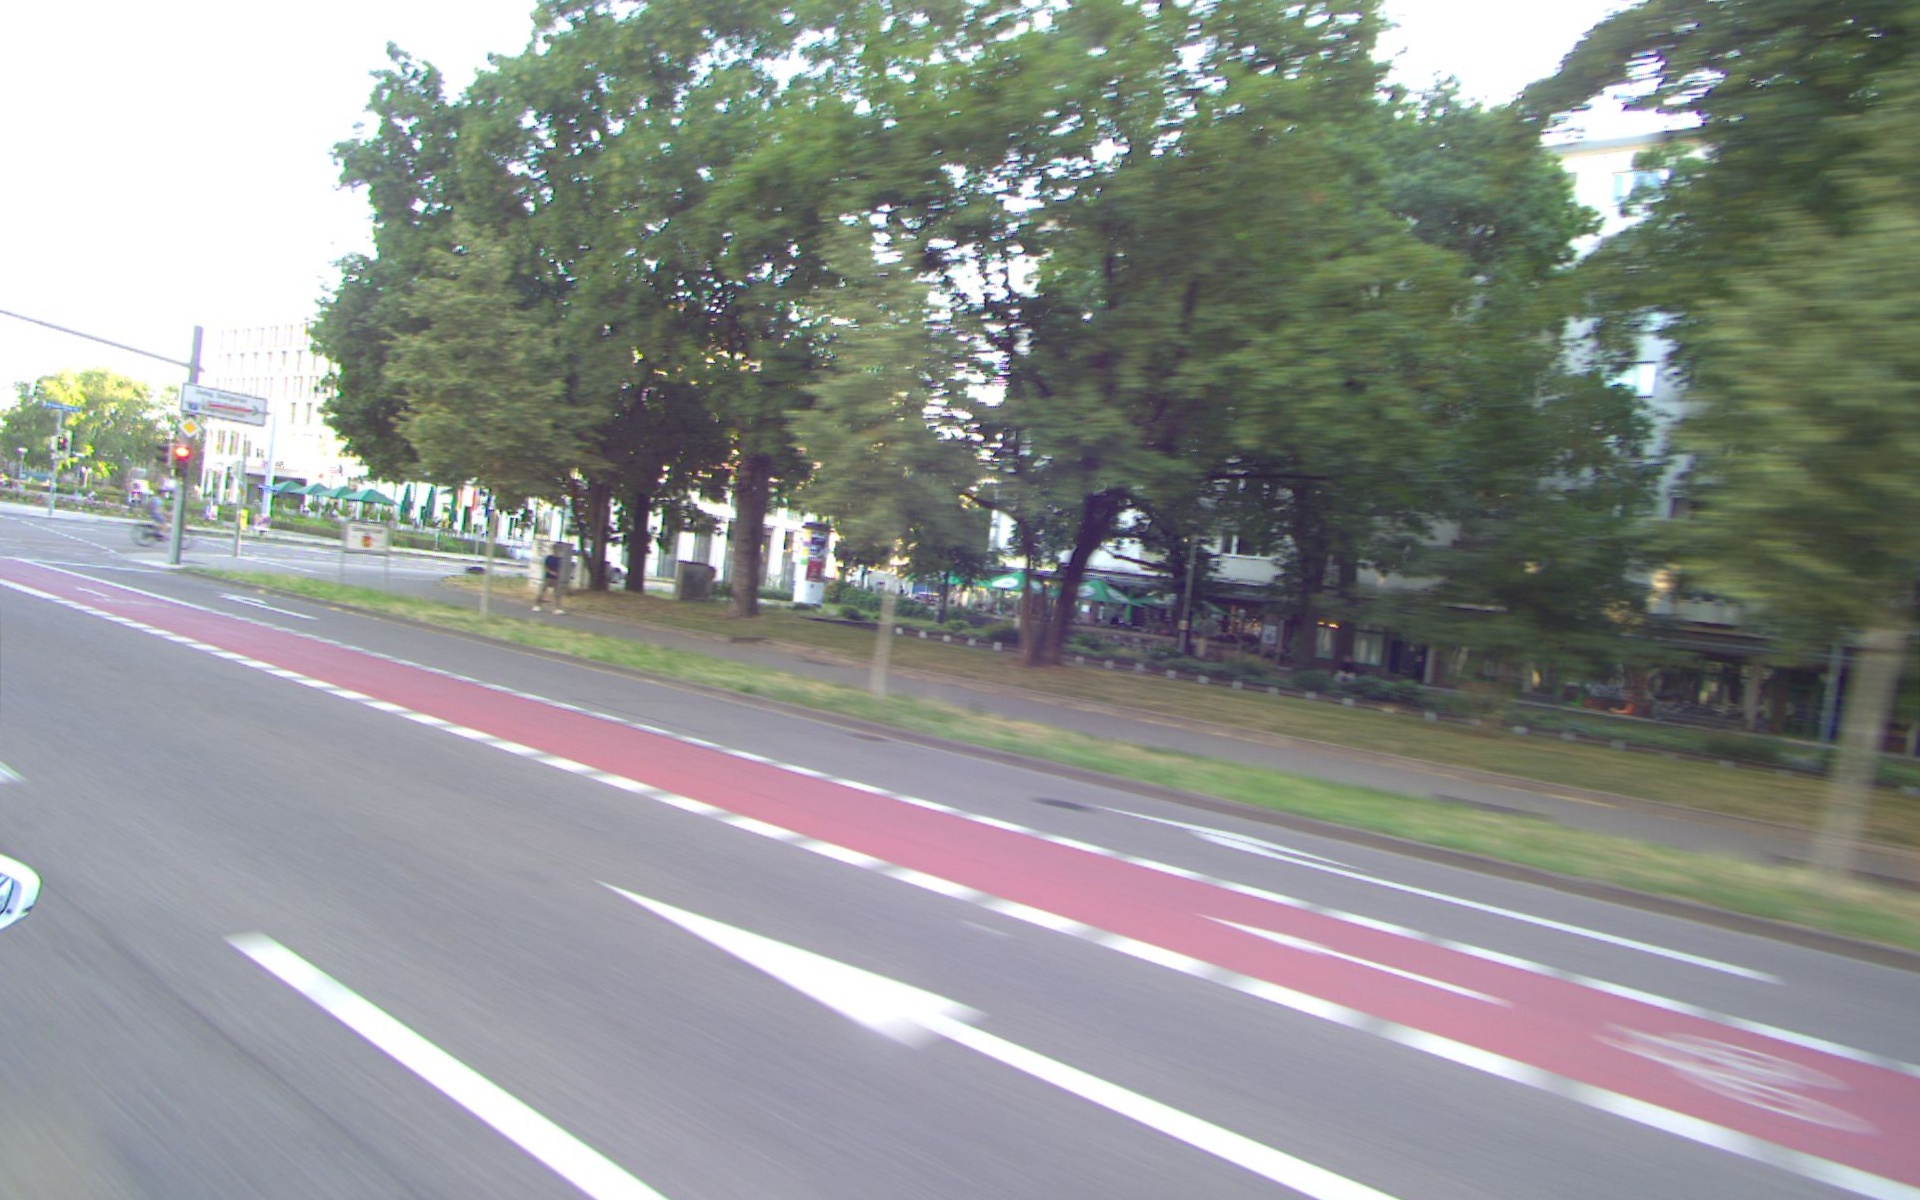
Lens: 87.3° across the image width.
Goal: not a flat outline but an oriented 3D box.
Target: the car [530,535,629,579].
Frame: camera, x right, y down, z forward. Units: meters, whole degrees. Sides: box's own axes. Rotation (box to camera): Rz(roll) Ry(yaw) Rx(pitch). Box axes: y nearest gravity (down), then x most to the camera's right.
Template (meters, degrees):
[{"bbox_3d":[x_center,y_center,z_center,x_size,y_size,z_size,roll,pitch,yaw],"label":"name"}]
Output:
[{"bbox_3d":[-19.637,-2.181,52.121,1.964,1.668,4.543,7,0,25],"label":"car"}]

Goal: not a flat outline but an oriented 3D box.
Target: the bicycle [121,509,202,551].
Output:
[{"bbox_3d":[-26.376,-2.297,33.243,0.719,1.082,1.897,7,-1,36],"label":"bicycle"}]

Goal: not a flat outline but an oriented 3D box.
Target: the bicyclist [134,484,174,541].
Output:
[{"bbox_3d":[-26.465,-2.869,33.026,0.704,1.715,0.746,7,1,36],"label":"bicyclist"}]

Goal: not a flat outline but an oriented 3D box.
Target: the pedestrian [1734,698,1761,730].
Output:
[{"bbox_3d":[31.937,4.618,40.802,0.689,1.179,0.786,8,1,35],"label":"pedestrian"}]

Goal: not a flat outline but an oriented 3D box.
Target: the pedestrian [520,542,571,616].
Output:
[{"bbox_3d":[-10.147,-0.506,24.627,0.736,1.715,0.695,7,1,32],"label":"pedestrian"}]
